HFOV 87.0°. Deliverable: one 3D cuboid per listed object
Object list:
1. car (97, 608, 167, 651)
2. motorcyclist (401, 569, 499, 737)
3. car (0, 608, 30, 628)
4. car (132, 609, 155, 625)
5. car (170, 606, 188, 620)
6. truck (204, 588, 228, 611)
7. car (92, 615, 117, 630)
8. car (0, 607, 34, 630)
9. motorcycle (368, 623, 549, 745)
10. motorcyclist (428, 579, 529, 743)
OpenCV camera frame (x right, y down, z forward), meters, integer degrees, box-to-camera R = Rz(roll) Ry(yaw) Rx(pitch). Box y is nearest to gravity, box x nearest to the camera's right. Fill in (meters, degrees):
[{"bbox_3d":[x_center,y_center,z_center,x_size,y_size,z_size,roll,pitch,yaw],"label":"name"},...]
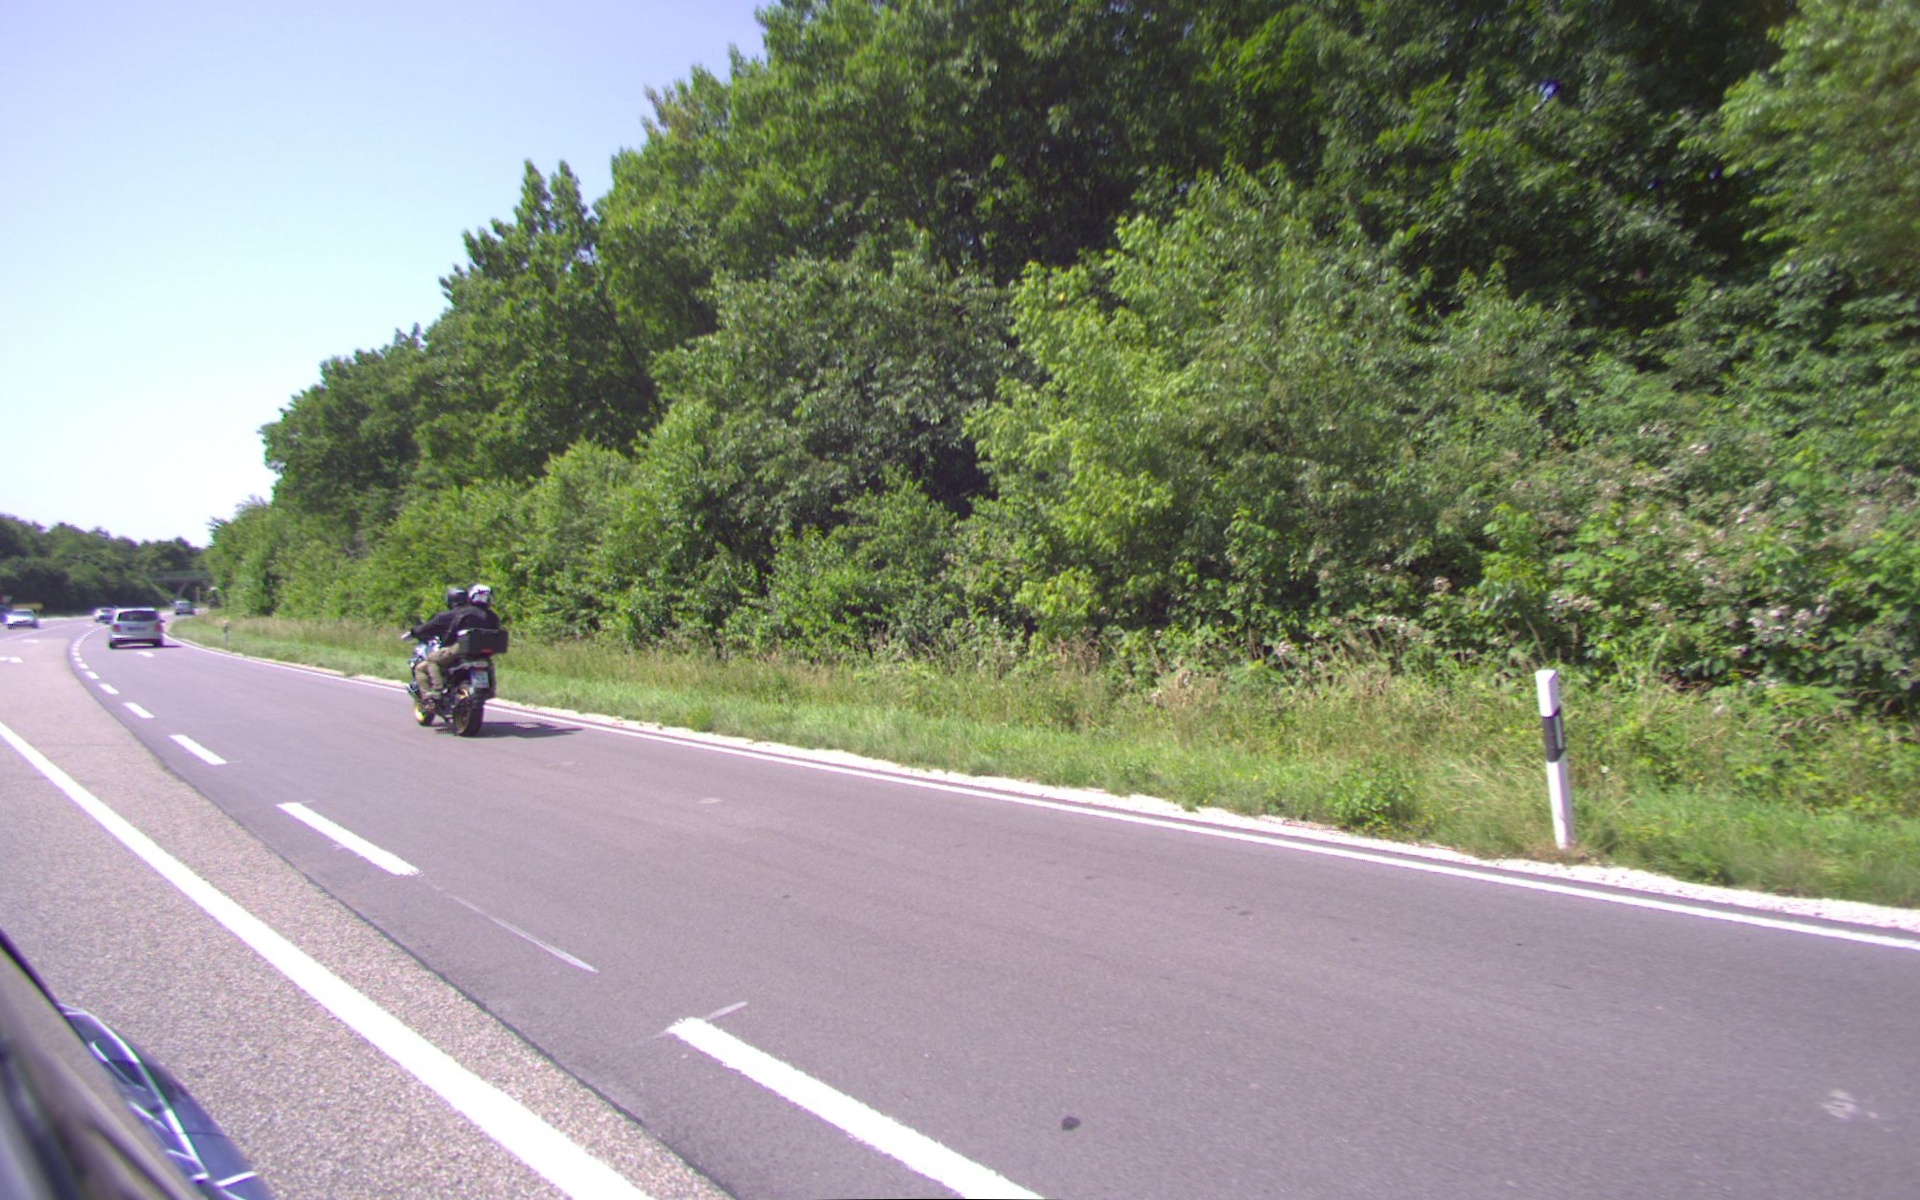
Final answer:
[{"bbox_3d":[-34.766,1.202,42.455,4.213,1.649,1.782,-1,0,44],"label":"car"},{"bbox_3d":[-5.996,0.593,11.909,0.656,1.896,0.812,-1,0,40],"label":"motorcyclist"},{"bbox_3d":[-96.876,1.867,101.397,2.010,1.921,5.166,0,2,36],"label":"car"},{"bbox_3d":[-78.355,1.623,97.110,1.595,1.513,3.557,-1,0,-42],"label":"car"},{"bbox_3d":[-102.025,1.714,132.216,1.819,1.792,4.903,-1,0,-38],"label":"car"},{"bbox_3d":[-122.890,-0.113,167.234,2.591,3.698,8.820,-1,1,-33],"label":"truck"},{"bbox_3d":[-88.774,2.290,105.057,1.686,1.430,4.107,-1,1,-37],"label":"car"},{"bbox_3d":[-78.105,1.517,83.815,4.001,1.821,1.785,-1,0,44],"label":"car"},{"bbox_3d":[-5.972,0.919,11.963,2.680,1.260,0.937,-1,0,41],"label":"motorcycle"},{"bbox_3d":[-5.441,0.656,11.439,0.623,1.765,0.822,-1,0,40],"label":"motorcyclist"}]
